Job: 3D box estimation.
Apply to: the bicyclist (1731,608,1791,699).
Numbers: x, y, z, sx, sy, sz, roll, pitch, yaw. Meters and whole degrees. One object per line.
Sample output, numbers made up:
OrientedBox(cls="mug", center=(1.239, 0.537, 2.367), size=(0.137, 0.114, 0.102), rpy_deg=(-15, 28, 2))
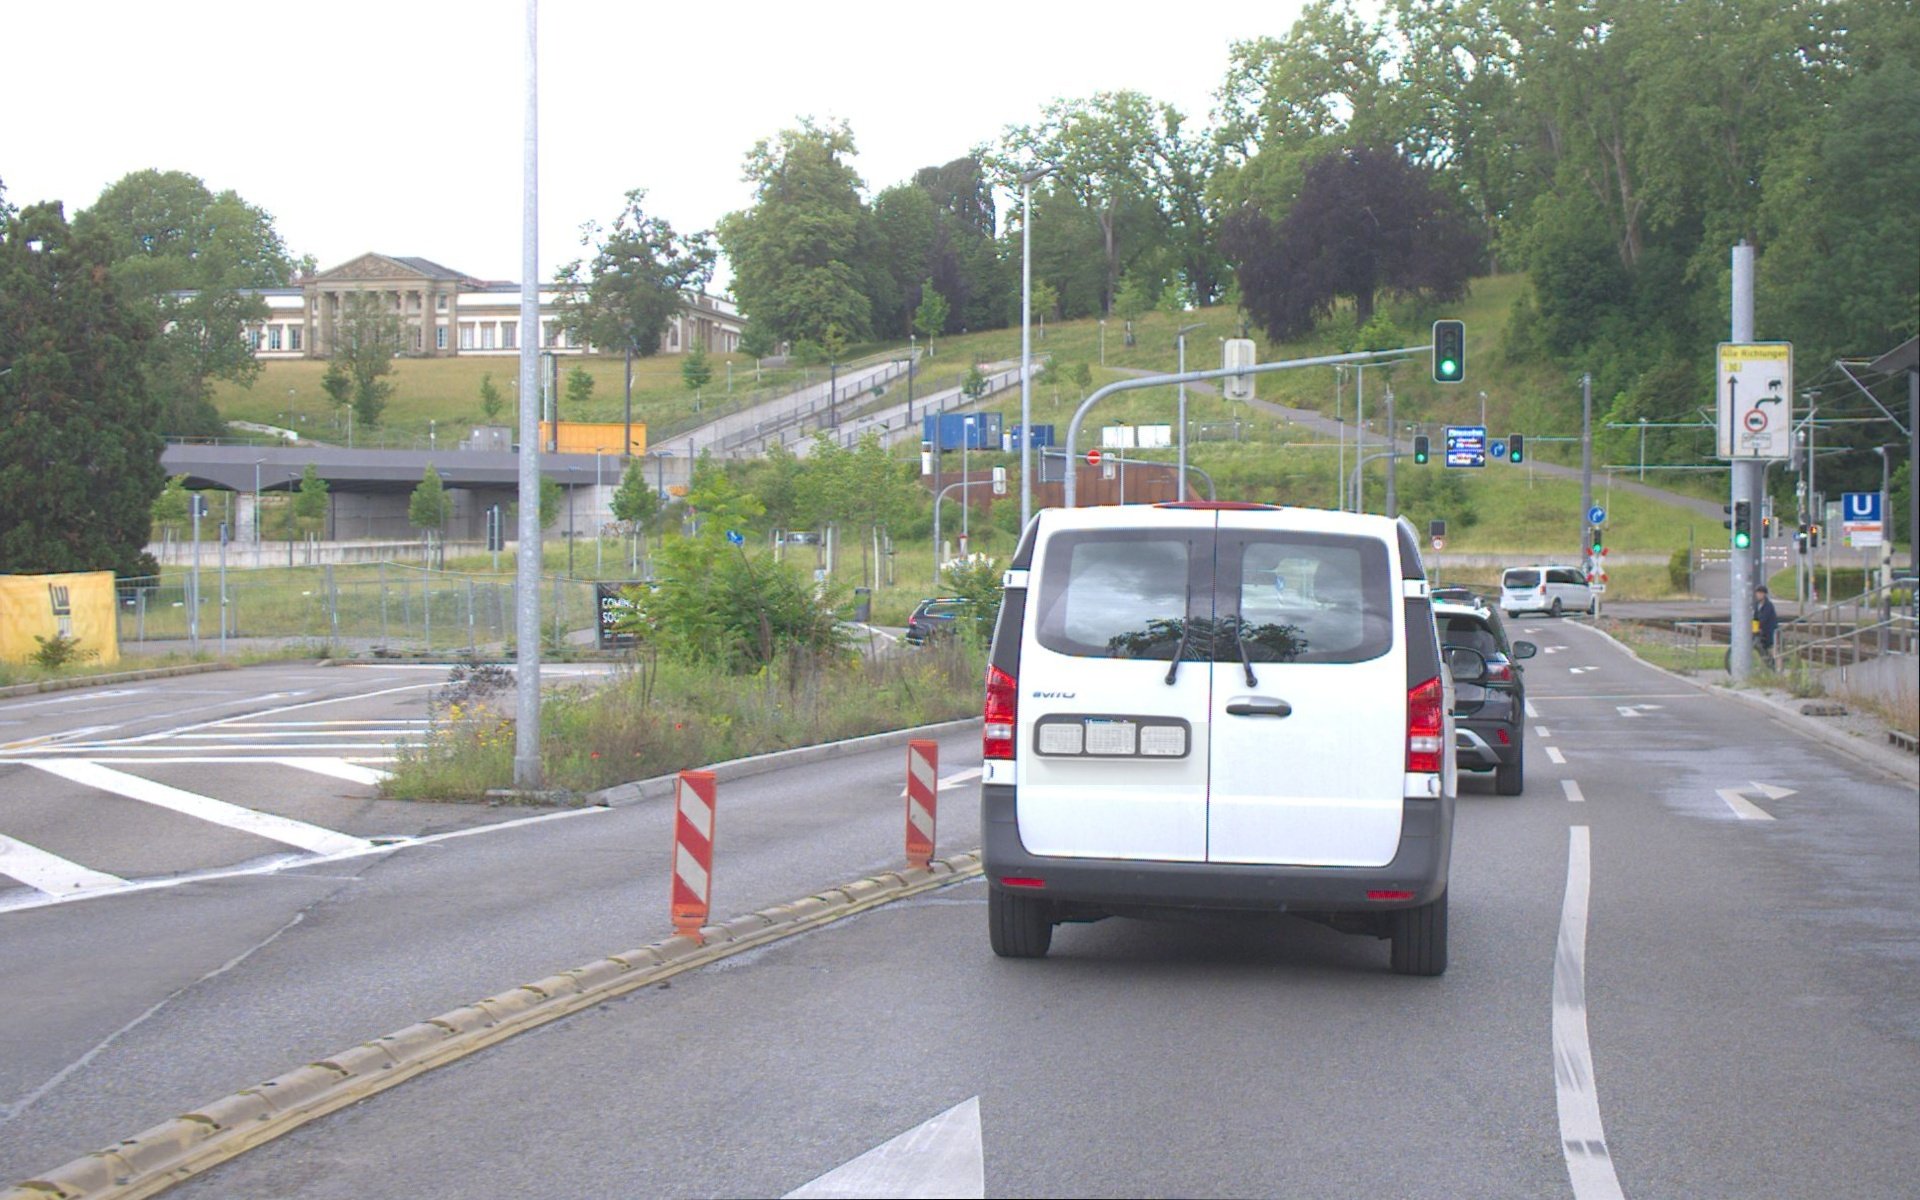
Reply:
OrientedBox(cls="bicyclist", center=(13.974, 0.929, 59.988), size=(0.803, 1.567, 0.618), rpy_deg=(0, 1, -30))

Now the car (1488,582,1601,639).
OrientedBox(cls="car", center=(21.647, 0.386, 127.153), size=(2.205, 2.007, 5.141), rpy_deg=(1, -1, 33))

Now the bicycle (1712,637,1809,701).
OrientedBox(cls="bicycle", center=(13.962, 1.205, 59.975), size=(1.678, 1.070, 0.620), rpy_deg=(0, 1, -30))

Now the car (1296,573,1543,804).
OrientedBox(cls="car", center=(3.798, 0.698, 28.475), size=(1.839, 1.723, 4.061), rpy_deg=(2, 0, 8))

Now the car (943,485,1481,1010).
OrientedBox(cls="car", center=(1.222, 0.565, 15.089), size=(1.960, 1.897, 4.460), rpy_deg=(2, 0, 7))

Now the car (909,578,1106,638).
OrientedBox(cls="car", center=(1.235, 0.209, 89.192), size=(4.713, 1.472, 1.998), rpy_deg=(-1, 0, 19))
